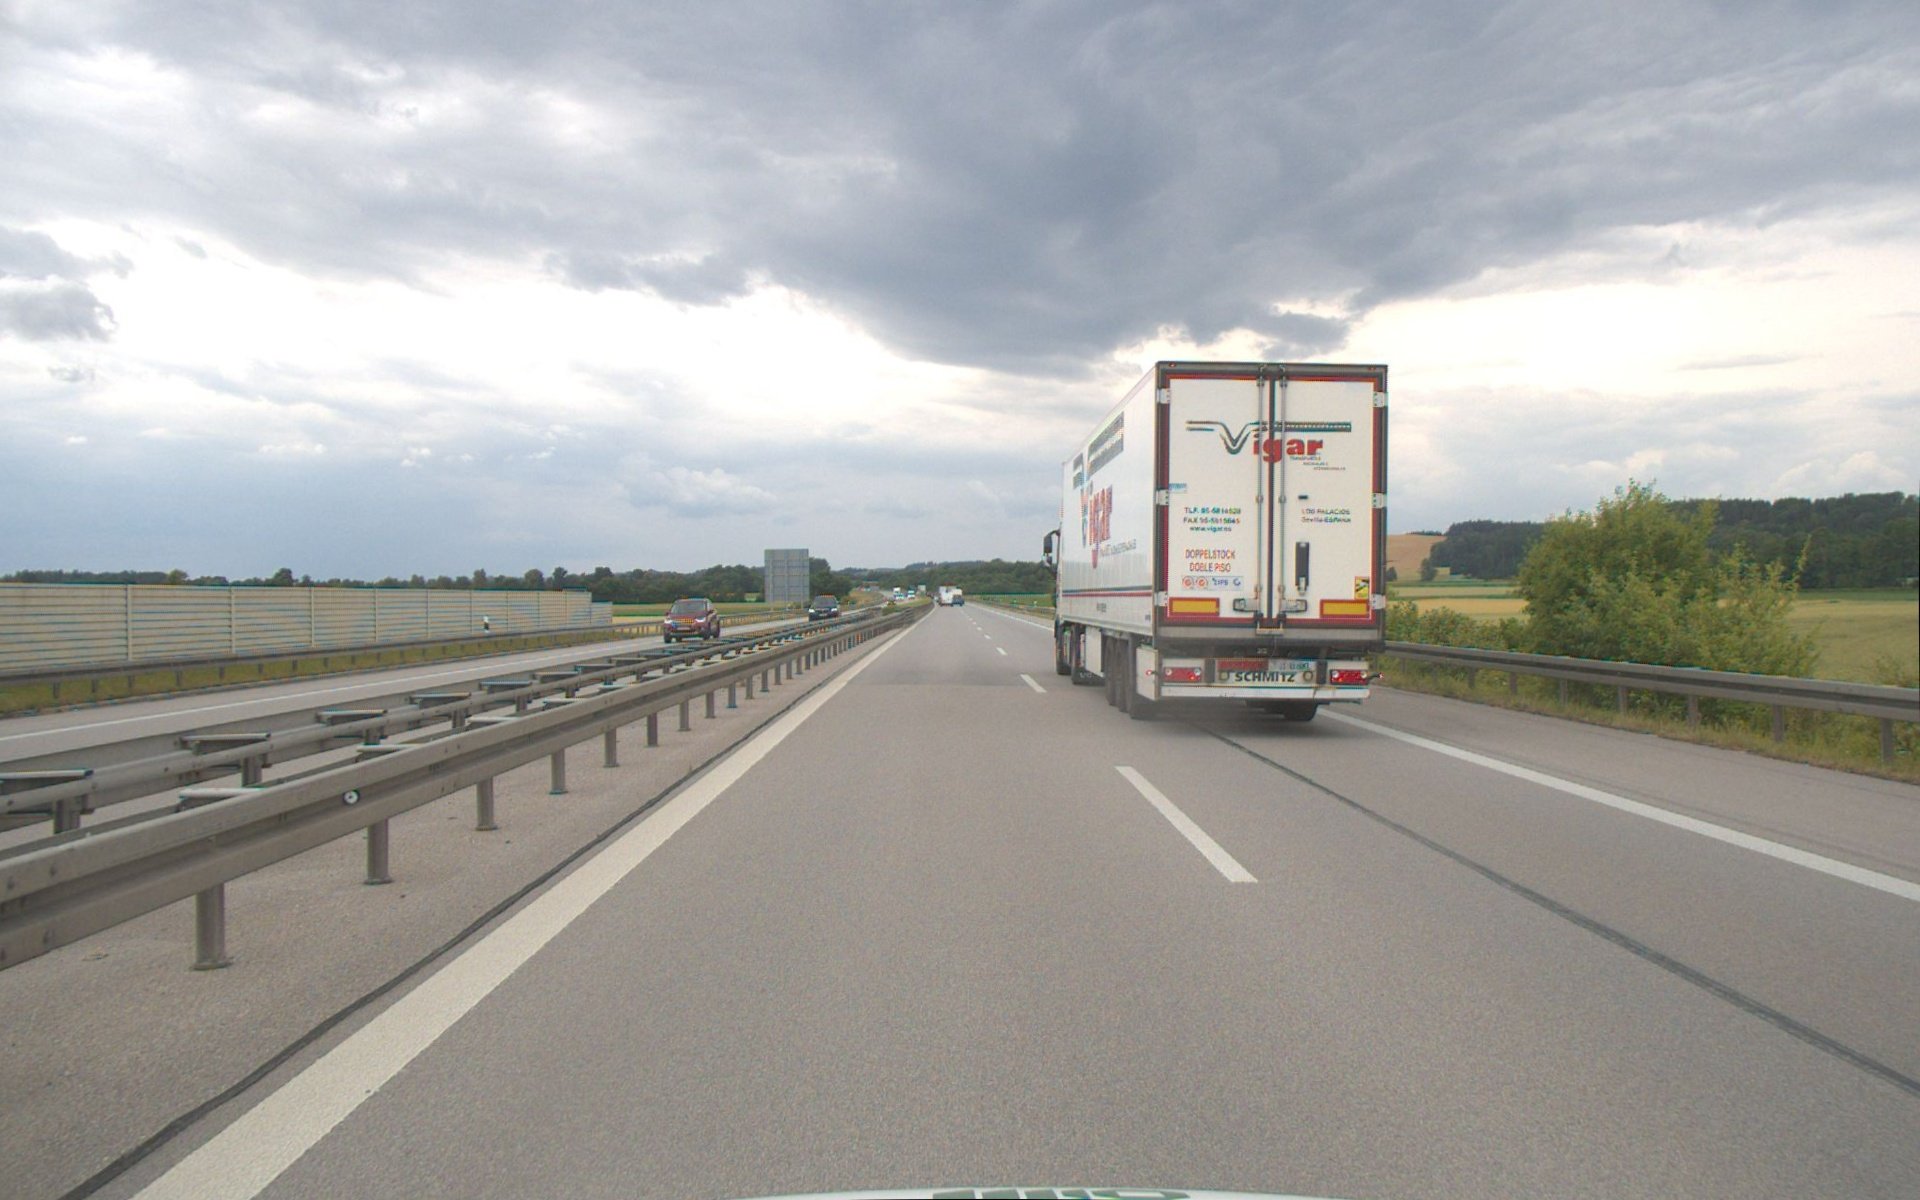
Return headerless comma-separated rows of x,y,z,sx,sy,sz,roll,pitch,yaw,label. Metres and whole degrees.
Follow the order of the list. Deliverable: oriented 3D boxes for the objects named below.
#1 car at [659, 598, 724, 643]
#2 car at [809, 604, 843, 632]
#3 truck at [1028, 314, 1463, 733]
-10.794,0.801,66.711,1.857,1.660,4.174,-3,0,0,car
-8.816,1.151,108.957,1.857,1.660,4.174,-3,0,0,car
3.426,-0.903,25.997,3.598,4.489,16.336,-1,0,-1,truck
